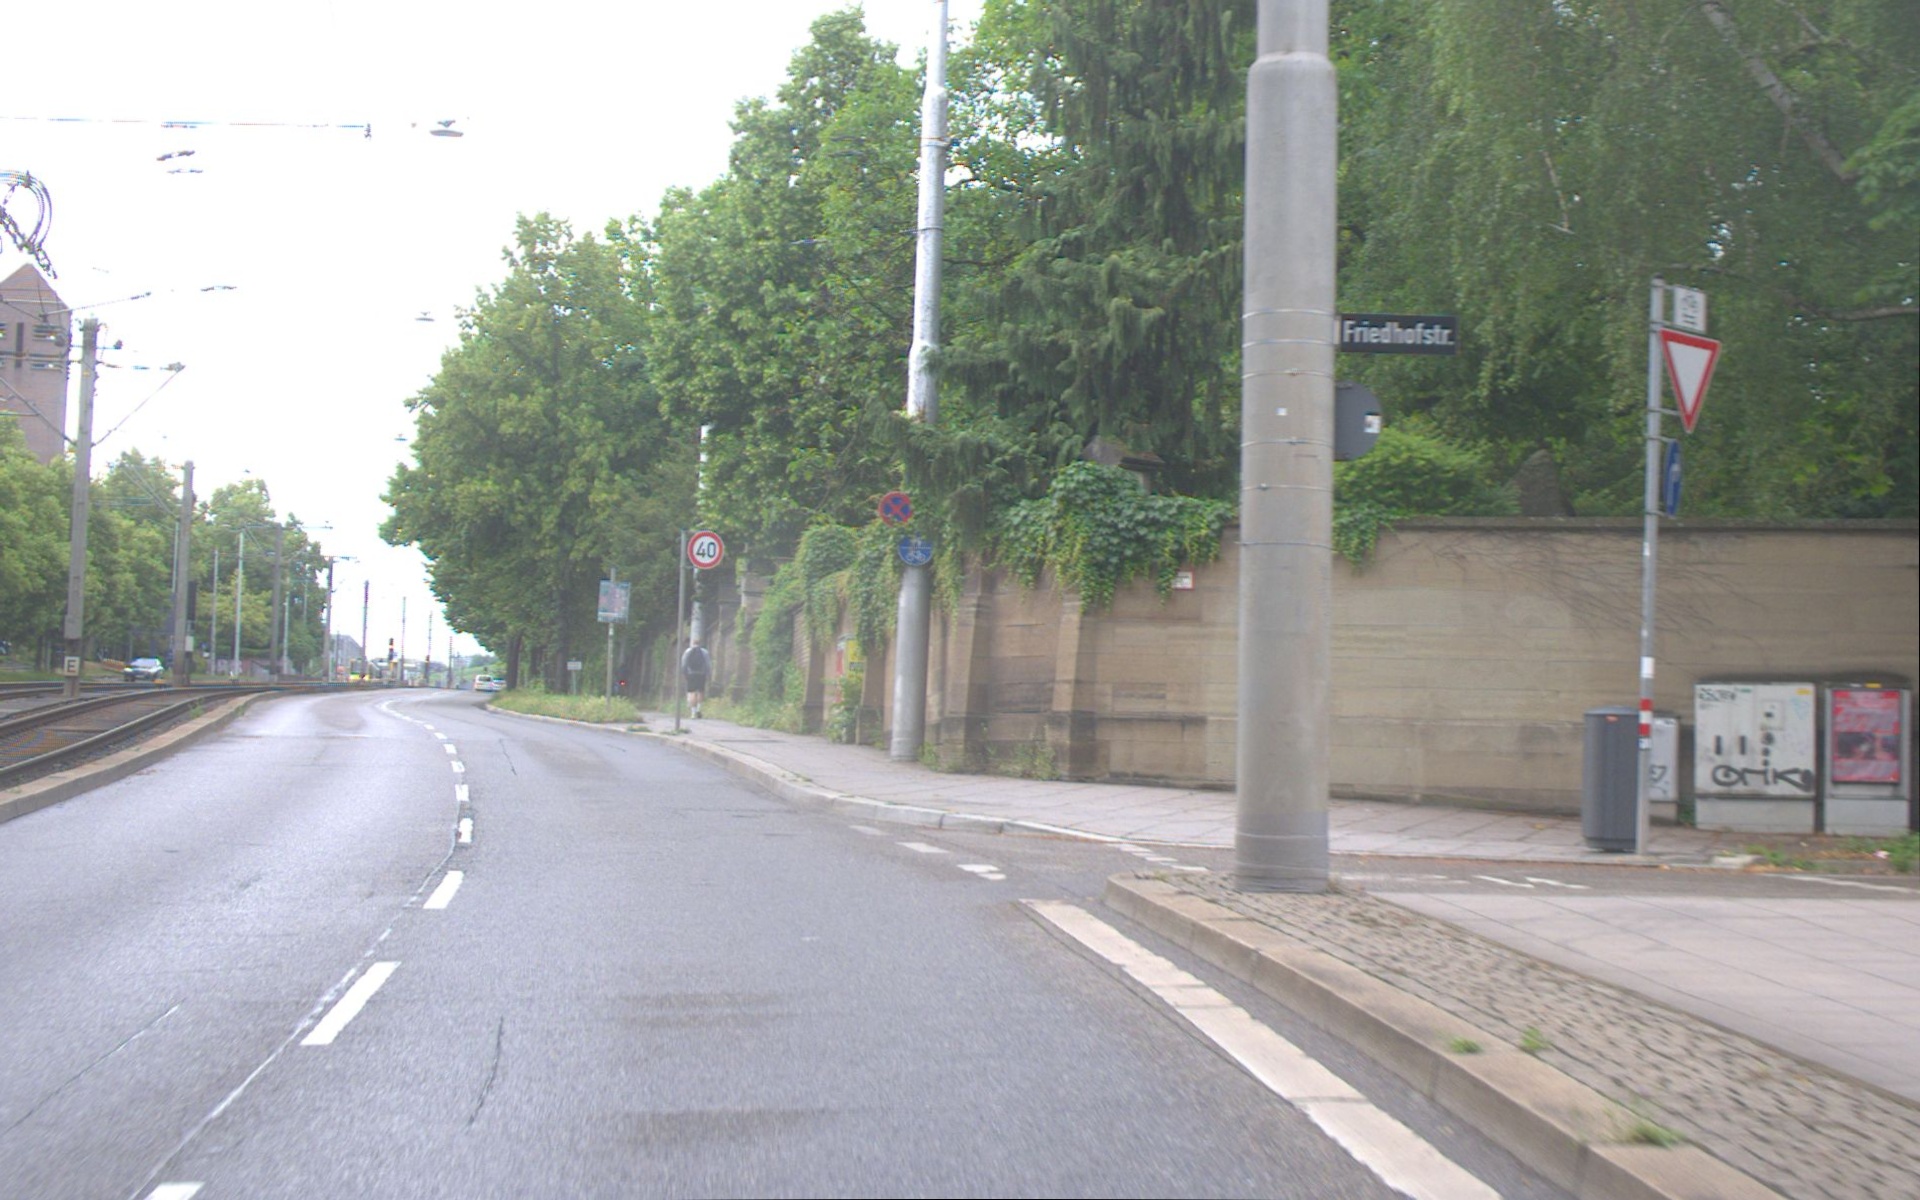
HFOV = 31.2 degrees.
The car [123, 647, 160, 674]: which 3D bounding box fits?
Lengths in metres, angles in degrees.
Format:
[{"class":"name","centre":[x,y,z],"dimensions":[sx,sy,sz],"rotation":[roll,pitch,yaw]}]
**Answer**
[{"class":"car","centre":[-49.266,3.650,206.927],"dimensions":[1.794,1.505,3.849],"rotation":[2,-1,-8]}]

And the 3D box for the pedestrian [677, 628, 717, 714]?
[{"class":"pedestrian","centre":[-5.824,1.566,76.080],"dimensions":[0.719,1.844,0.783],"rotation":[3,-2,-8]}]

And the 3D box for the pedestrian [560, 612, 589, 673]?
[{"class":"pedestrian","centre":[-10.851,1.195,96.767],"dimensions":[0.719,1.682,0.729],"rotation":[3,-2,-8]}]
